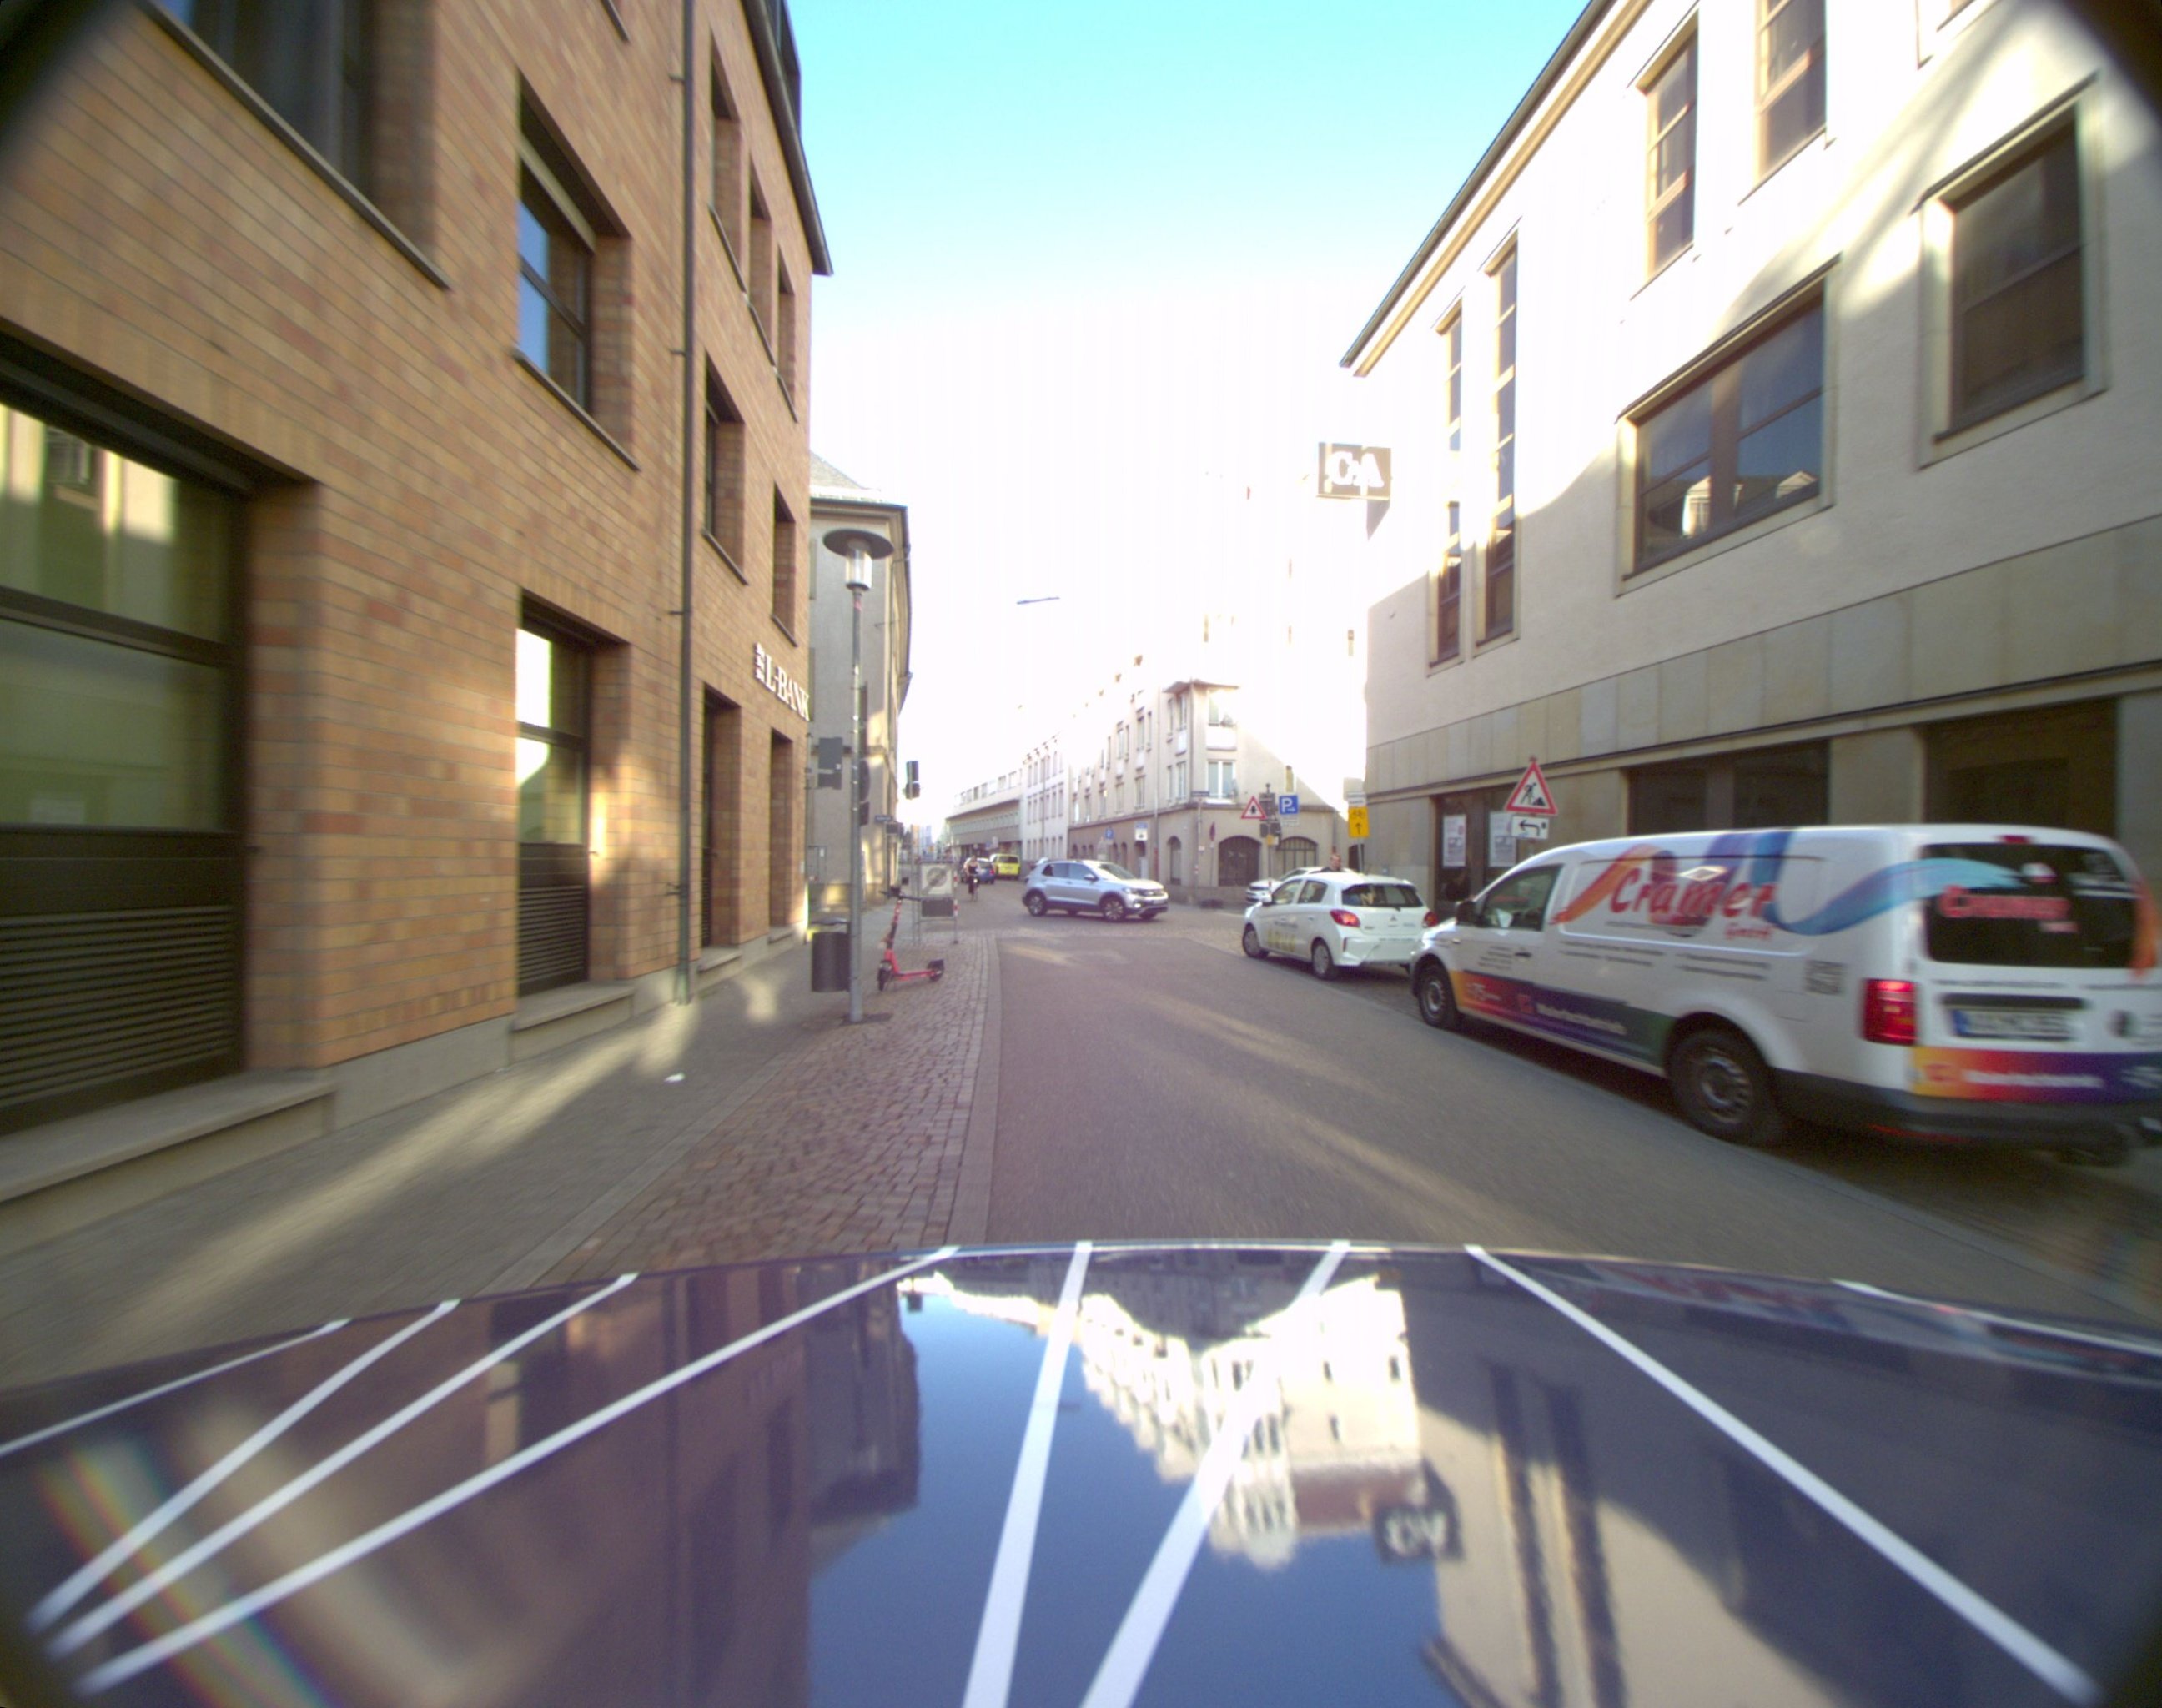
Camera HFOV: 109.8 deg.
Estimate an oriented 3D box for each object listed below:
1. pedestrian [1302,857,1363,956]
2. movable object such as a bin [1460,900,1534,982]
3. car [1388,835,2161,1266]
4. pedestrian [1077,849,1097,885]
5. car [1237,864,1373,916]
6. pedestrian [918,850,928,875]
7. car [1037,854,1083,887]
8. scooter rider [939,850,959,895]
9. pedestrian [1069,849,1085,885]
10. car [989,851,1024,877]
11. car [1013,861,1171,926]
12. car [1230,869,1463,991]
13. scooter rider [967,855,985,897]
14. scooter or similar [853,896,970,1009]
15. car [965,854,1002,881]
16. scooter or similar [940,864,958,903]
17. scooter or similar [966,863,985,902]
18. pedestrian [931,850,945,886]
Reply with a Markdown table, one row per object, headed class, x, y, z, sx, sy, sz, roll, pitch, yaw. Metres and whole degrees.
| class | x | y | z | sx | sy | sz | roll | pitch | yaw |
| --- | --- | --- | --- | --- | --- | --- | --- | --- | --- |
| pedestrian | 4.902 | 1.003 | 14.858 | 0.716 | 1.844 | 0.860 | 2 | 1 | -12 |
| movable object such as a bin | 6.089 | 1.259 | 11.150 | 0.739 | 1.094 | 0.590 | -2 | 1 | -8 |
| car | 4.388 | 0.879 | 5.690 | 1.905 | 1.846 | 4.731 | 2 | 0 | -5 |
| pedestrian | 0.344 | 0.727 | 43.010 | 0.938 | 2.002 | 0.698 | 1 | 0 | -14 |
| car | 7.447 | 1.182 | 25.479 | 3.968 | 1.584 | 1.742 | 1 | 1 | -6 |
| pedestrian | -12.330 | 0.660 | 59.161 | 0.716 | 2.002 | 0.698 | 1 | 0 | -14 |
| car | -1.224 | 0.878 | 41.925 | 1.890 | 1.694 | 3.996 | 0 | 0 | -11 |
| scooter rider | -4.786 | 0.671 | 27.537 | 0.648 | 1.584 | 0.599 | -2 | 1 | -13 |
| pedestrian | -0.224 | 0.748 | 42.795 | 0.716 | 2.002 | 0.698 | 1 | 0 | -14 |
| car | -5.668 | 0.690 | 57.450 | 1.891 | 1.863 | 3.994 | -1 | 1 | -16 |
| car | 0.238 | 0.969 | 20.388 | 3.988 | 1.537 | 1.768 | 0 | 0 | 39 |
| car | 3.839 | 1.040 | 11.756 | 1.743 | 1.483 | 3.796 | 2 | 0 | -10 |
| scooter rider | -3.931 | 0.815 | 28.397 | 0.592 | 1.500 | 0.599 | -2 | 1 | -13 |
| scooter or similar | -2.092 | 1.182 | 9.514 | 0.537 | 1.228 | 1.422 | -1 | 0 | 35 |
| car | -6.137 | 0.879 | 47.484 | 1.858 | 1.583 | 3.802 | 1 | -2 | -14 |
| scooter or similar | -4.815 | 1.057 | 27.708 | 0.524 | 1.388 | 1.553 | 1 | 0 | -13 |
| scooter or similar | -3.935 | 1.032 | 28.234 | 0.550 | 1.388 | 1.553 | 1 | 0 | -13 |
| pedestrian | -8.105 | 0.767 | 42.958 | 0.716 | 2.002 | 0.698 | 1 | 0 | -14 |
